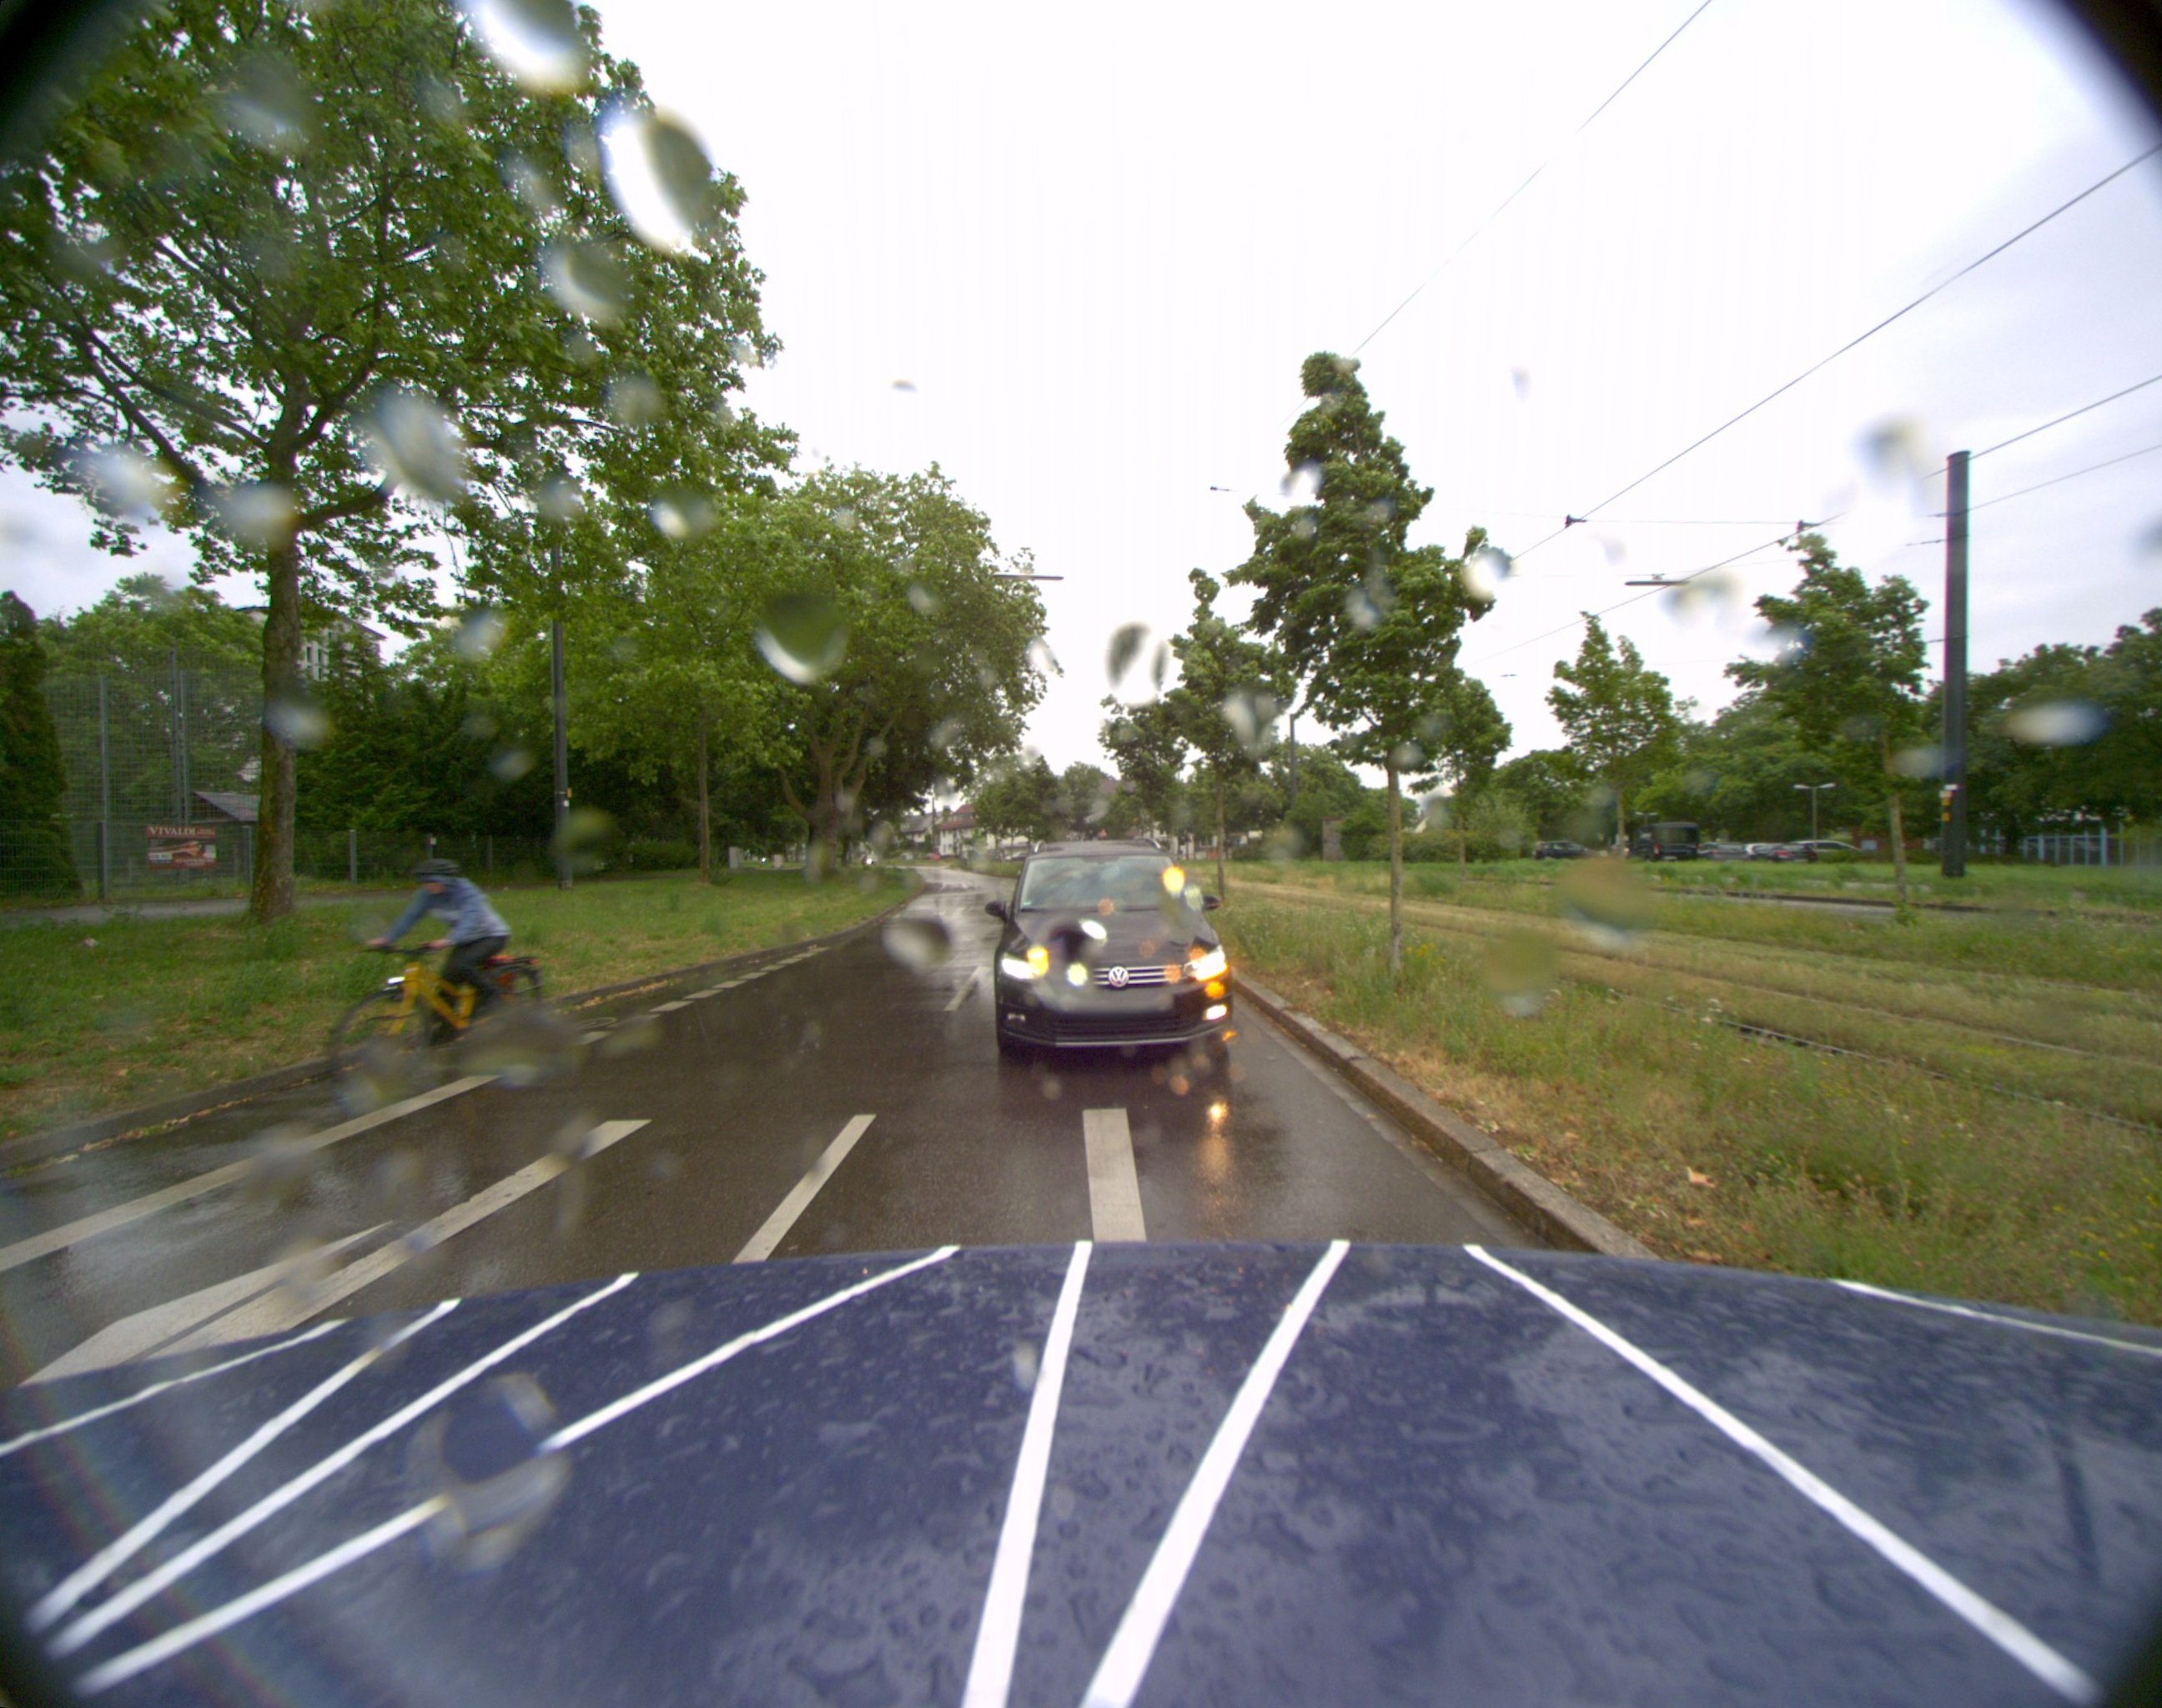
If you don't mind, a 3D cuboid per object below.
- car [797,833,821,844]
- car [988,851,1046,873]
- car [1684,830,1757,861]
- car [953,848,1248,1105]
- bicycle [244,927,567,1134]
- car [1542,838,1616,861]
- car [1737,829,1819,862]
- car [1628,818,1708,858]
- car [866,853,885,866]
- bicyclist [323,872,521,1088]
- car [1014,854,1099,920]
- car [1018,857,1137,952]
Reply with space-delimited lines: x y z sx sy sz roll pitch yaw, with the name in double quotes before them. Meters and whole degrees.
"car" -51.622 -2.978 144.037 4.004 1.816 1.996 -3 1 -24
"car" -4.673 0.561 55.666 4.046 1.412 1.674 -2 1 -10
"car" 34.637 -0.512 41.288 1.752 1.522 4.856 -2 1 24
"car" 0.154 0.781 7.206 1.866 1.592 4.524 -2 1 1
"bicycle" -4.995 1.235 5.846 0.692 1.110 1.885 -2 1 2
"car" 35.065 -0.299 53.667 4.172 1.474 1.786 -2 1 27
"car" 36.608 -0.491 40.067 2.057 1.564 5.024 -2 1 29
"car" 31.997 -0.882 41.605 2.307 2.002 5.125 -2 1 24
"car" -26.336 0.705 97.310 1.875 1.608 3.802 -3 1 -22
"bicyclist" -5.003 0.913 5.834 0.692 1.497 0.844 -2 2 2
"car" -0.709 0.734 19.047 1.789 1.396 3.791 -2 1 -6
"car" -0.123 0.786 13.759 1.788 1.355 3.996 -2 1 -2
